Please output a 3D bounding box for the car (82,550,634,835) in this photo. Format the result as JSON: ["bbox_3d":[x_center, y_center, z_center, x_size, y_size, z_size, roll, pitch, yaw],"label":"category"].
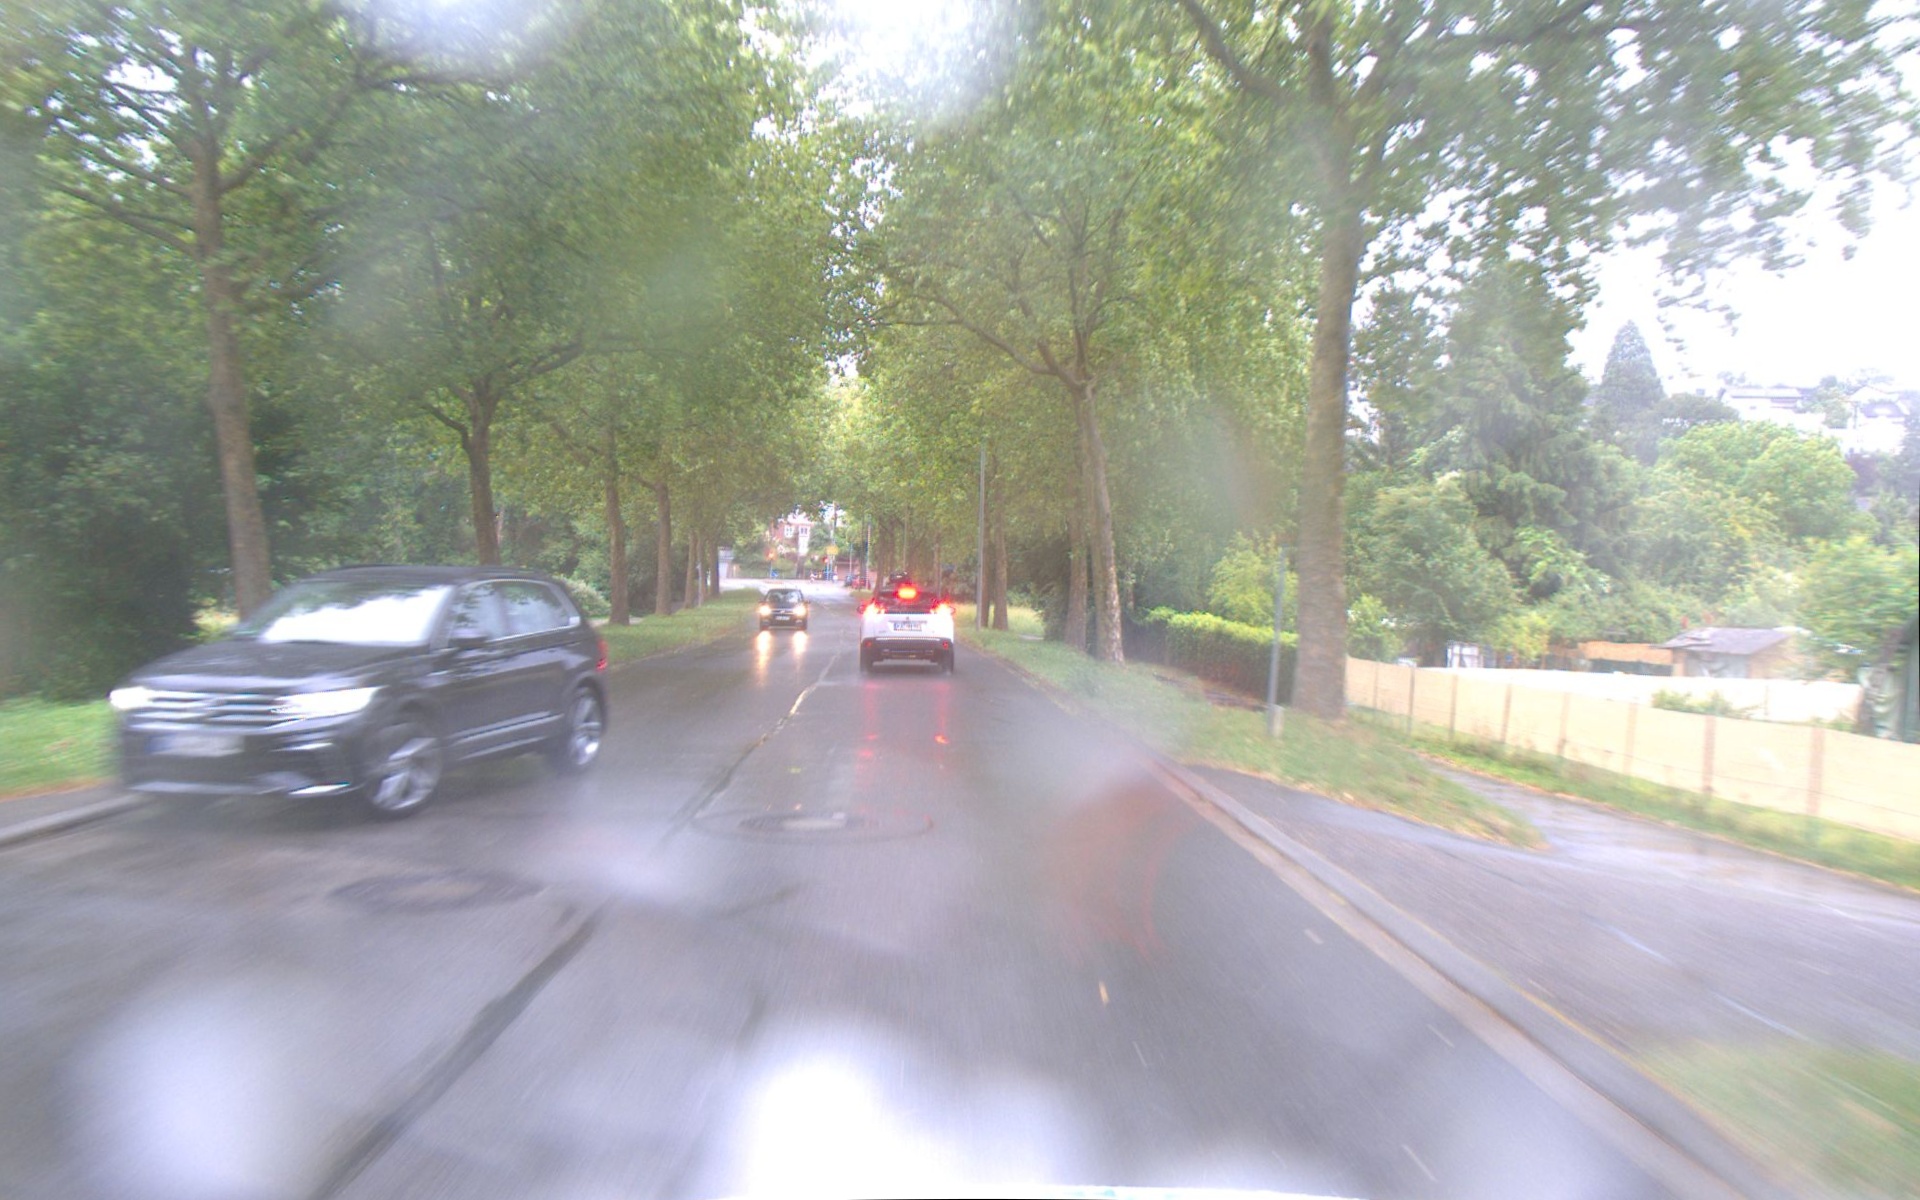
[{"bbox_3d":[-3.981,0.520,11.833,1.694,1.616,4.314,1,0,11],"label":"car"}]

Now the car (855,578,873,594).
[{"bbox_3d":[-10.451,-1.509,180.724,1.790,1.624,3.653,2,0,-1],"label":"car"}]

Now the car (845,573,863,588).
[{"bbox_3d":[-12.171,-2.262,190.110,1.790,1.624,3.653,2,0,-1],"label":"car"}]

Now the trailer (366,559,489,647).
[{"bbox_3d":[-17.073,0.063,53.366,2.435,2.612,5.329,2,0,-3],"label":"trailer"}]

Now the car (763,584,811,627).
[{"bbox_3d":[-6.362,0.177,60.907,1.674,1.512,3.876,2,0,-6],"label":"car"}]

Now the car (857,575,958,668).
[{"bbox_3d":[-0.967,0.351,31.461,1.757,1.606,3.844,2,1,-1],"label":"car"}]
